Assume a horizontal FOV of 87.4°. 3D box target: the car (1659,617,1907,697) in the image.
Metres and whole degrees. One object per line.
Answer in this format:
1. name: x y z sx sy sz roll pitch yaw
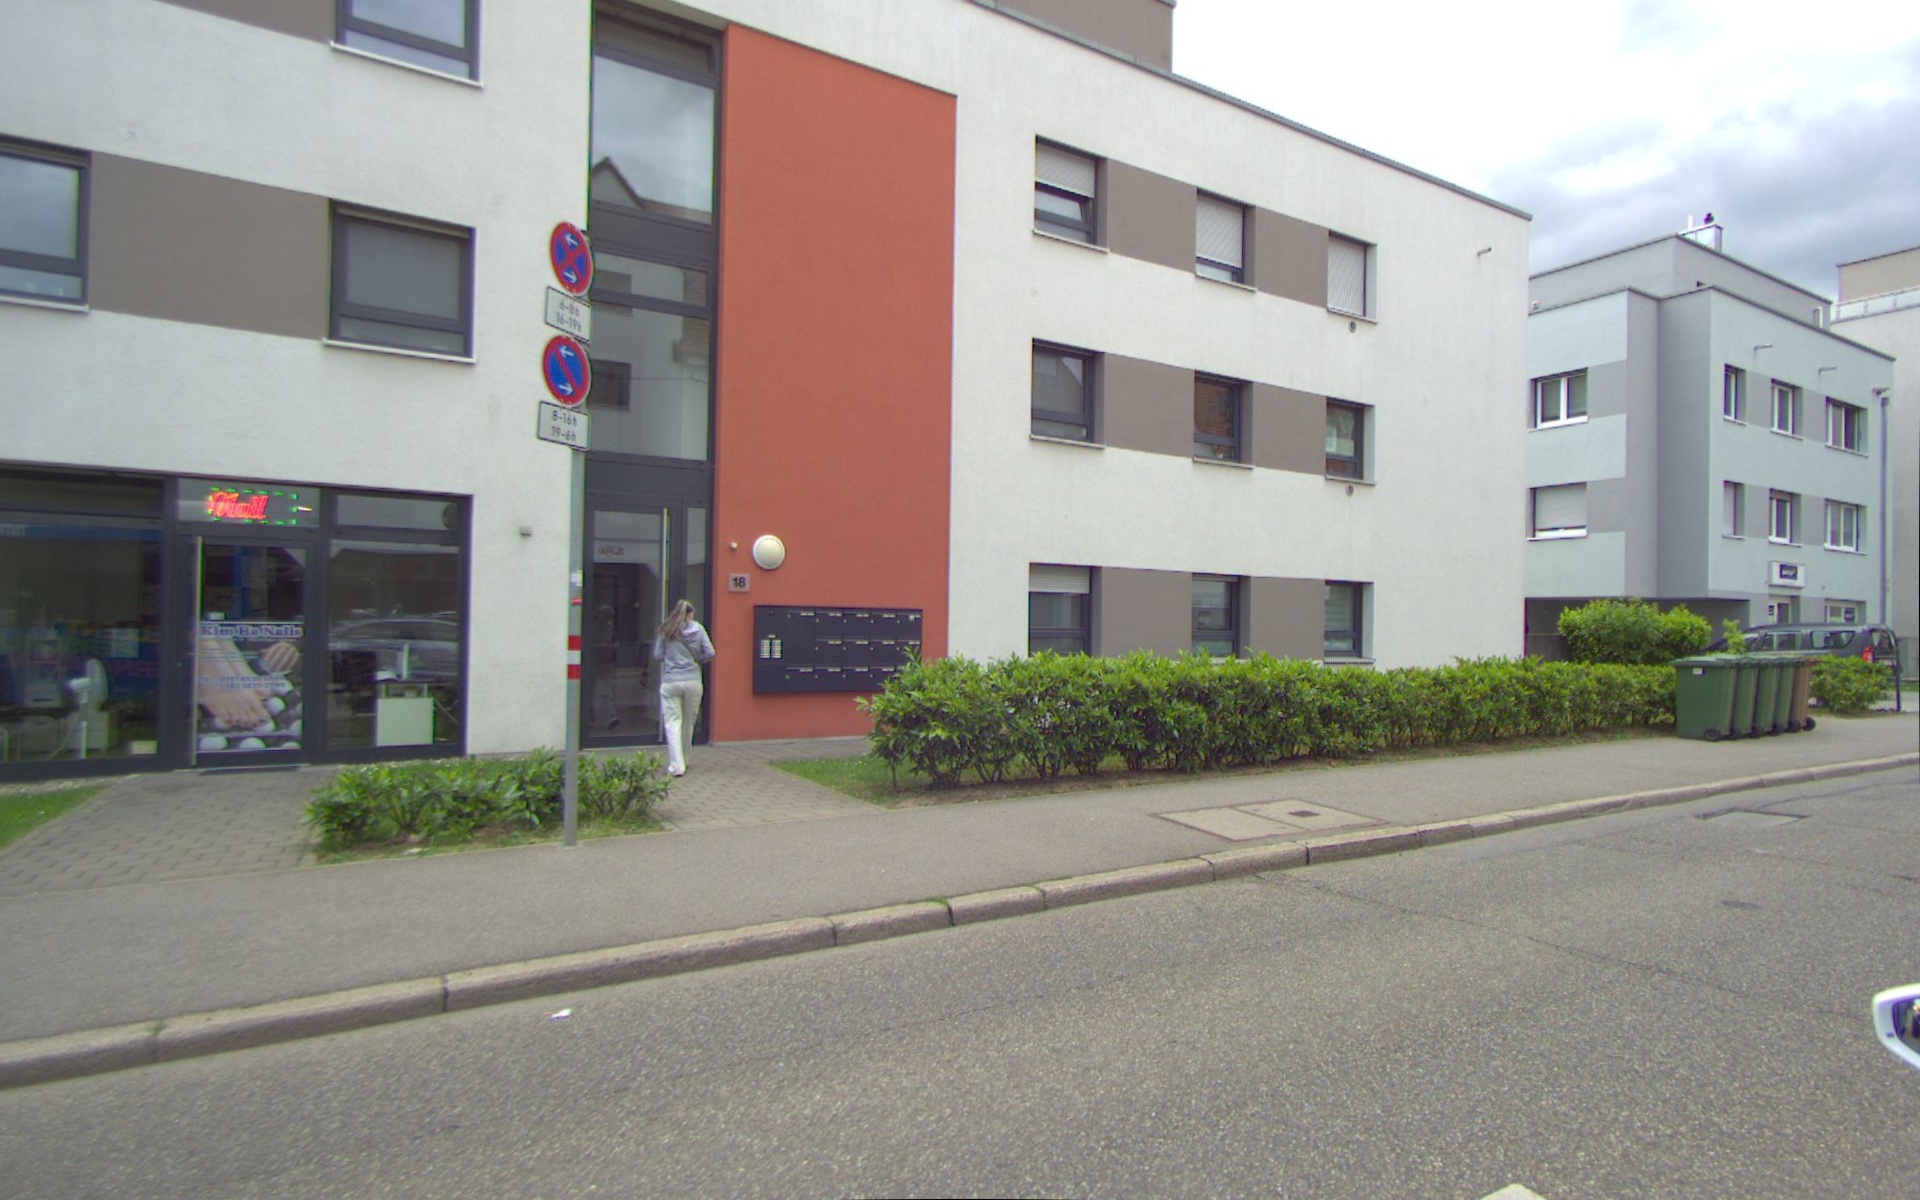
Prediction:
1. car: 18.945 1.252 23.336 1.702 1.689 4.149 2 -2 -26

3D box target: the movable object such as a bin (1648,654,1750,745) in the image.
1. movable object such as a bin: 9.796 1.295 13.329 0.785 1.103 0.889 1 -1 -34

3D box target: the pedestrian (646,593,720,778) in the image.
1. pedestrian: -2.575 0.777 9.364 0.629 1.664 0.518 1 -1 -15

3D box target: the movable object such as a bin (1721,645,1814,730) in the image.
1. movable object such as a bin: 11.768 1.251 14.649 0.606 1.166 0.935 1 -1 -34

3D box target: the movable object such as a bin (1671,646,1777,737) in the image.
1. movable object such as a bin: 10.494 1.230 13.806 0.832 1.166 0.950 1 -1 -34

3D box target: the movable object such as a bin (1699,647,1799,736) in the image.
1. movable object such as a bin: 11.190 1.269 14.256 0.741 1.166 0.942 1 -1 -34
